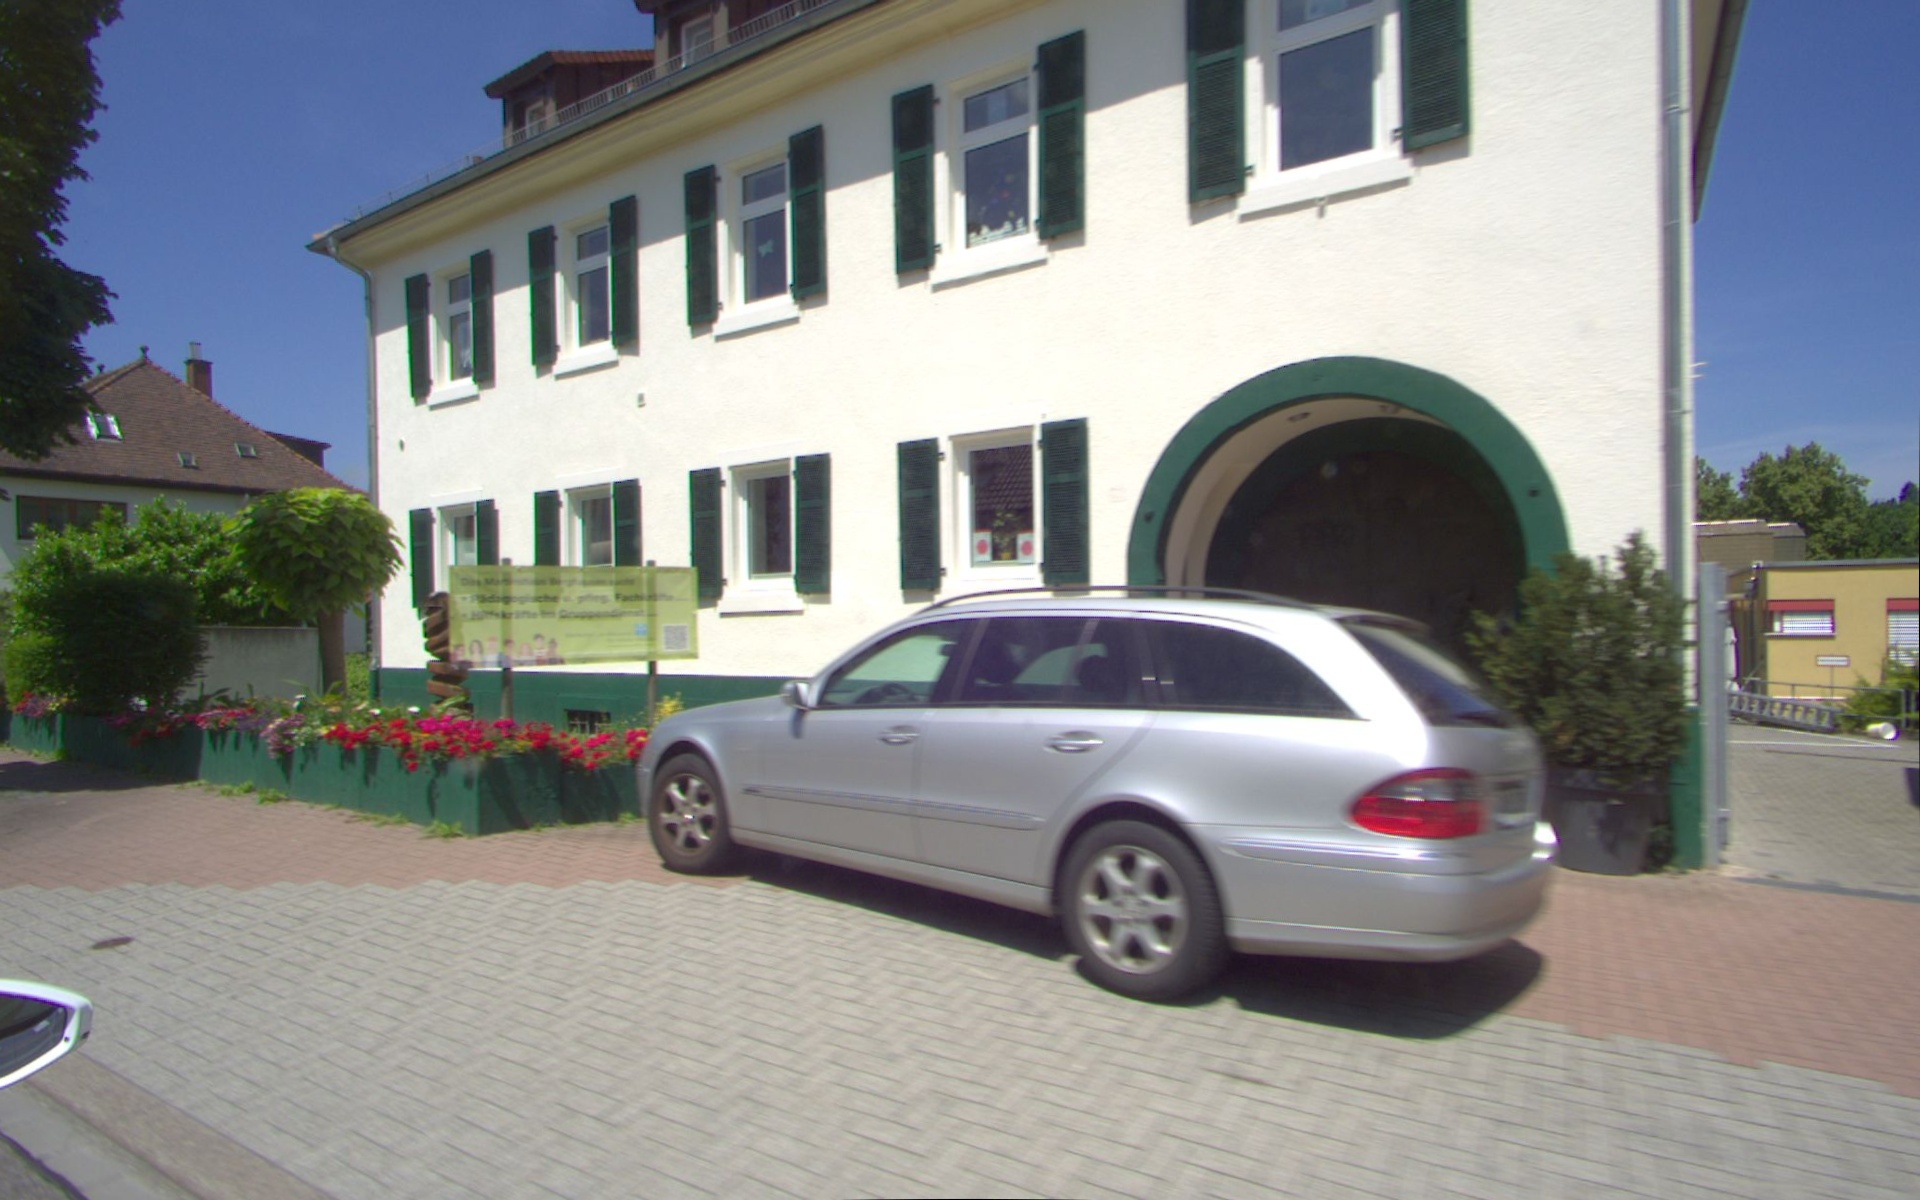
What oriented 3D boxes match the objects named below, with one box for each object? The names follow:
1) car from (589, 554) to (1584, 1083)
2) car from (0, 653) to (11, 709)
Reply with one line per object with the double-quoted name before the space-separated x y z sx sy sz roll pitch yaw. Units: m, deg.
"car" 0.221 0.741 5.101 4.829 1.480 1.808 -2 -5 41
"car" -27.417 1.899 25.555 1.880 1.603 4.174 -1 -11 32
